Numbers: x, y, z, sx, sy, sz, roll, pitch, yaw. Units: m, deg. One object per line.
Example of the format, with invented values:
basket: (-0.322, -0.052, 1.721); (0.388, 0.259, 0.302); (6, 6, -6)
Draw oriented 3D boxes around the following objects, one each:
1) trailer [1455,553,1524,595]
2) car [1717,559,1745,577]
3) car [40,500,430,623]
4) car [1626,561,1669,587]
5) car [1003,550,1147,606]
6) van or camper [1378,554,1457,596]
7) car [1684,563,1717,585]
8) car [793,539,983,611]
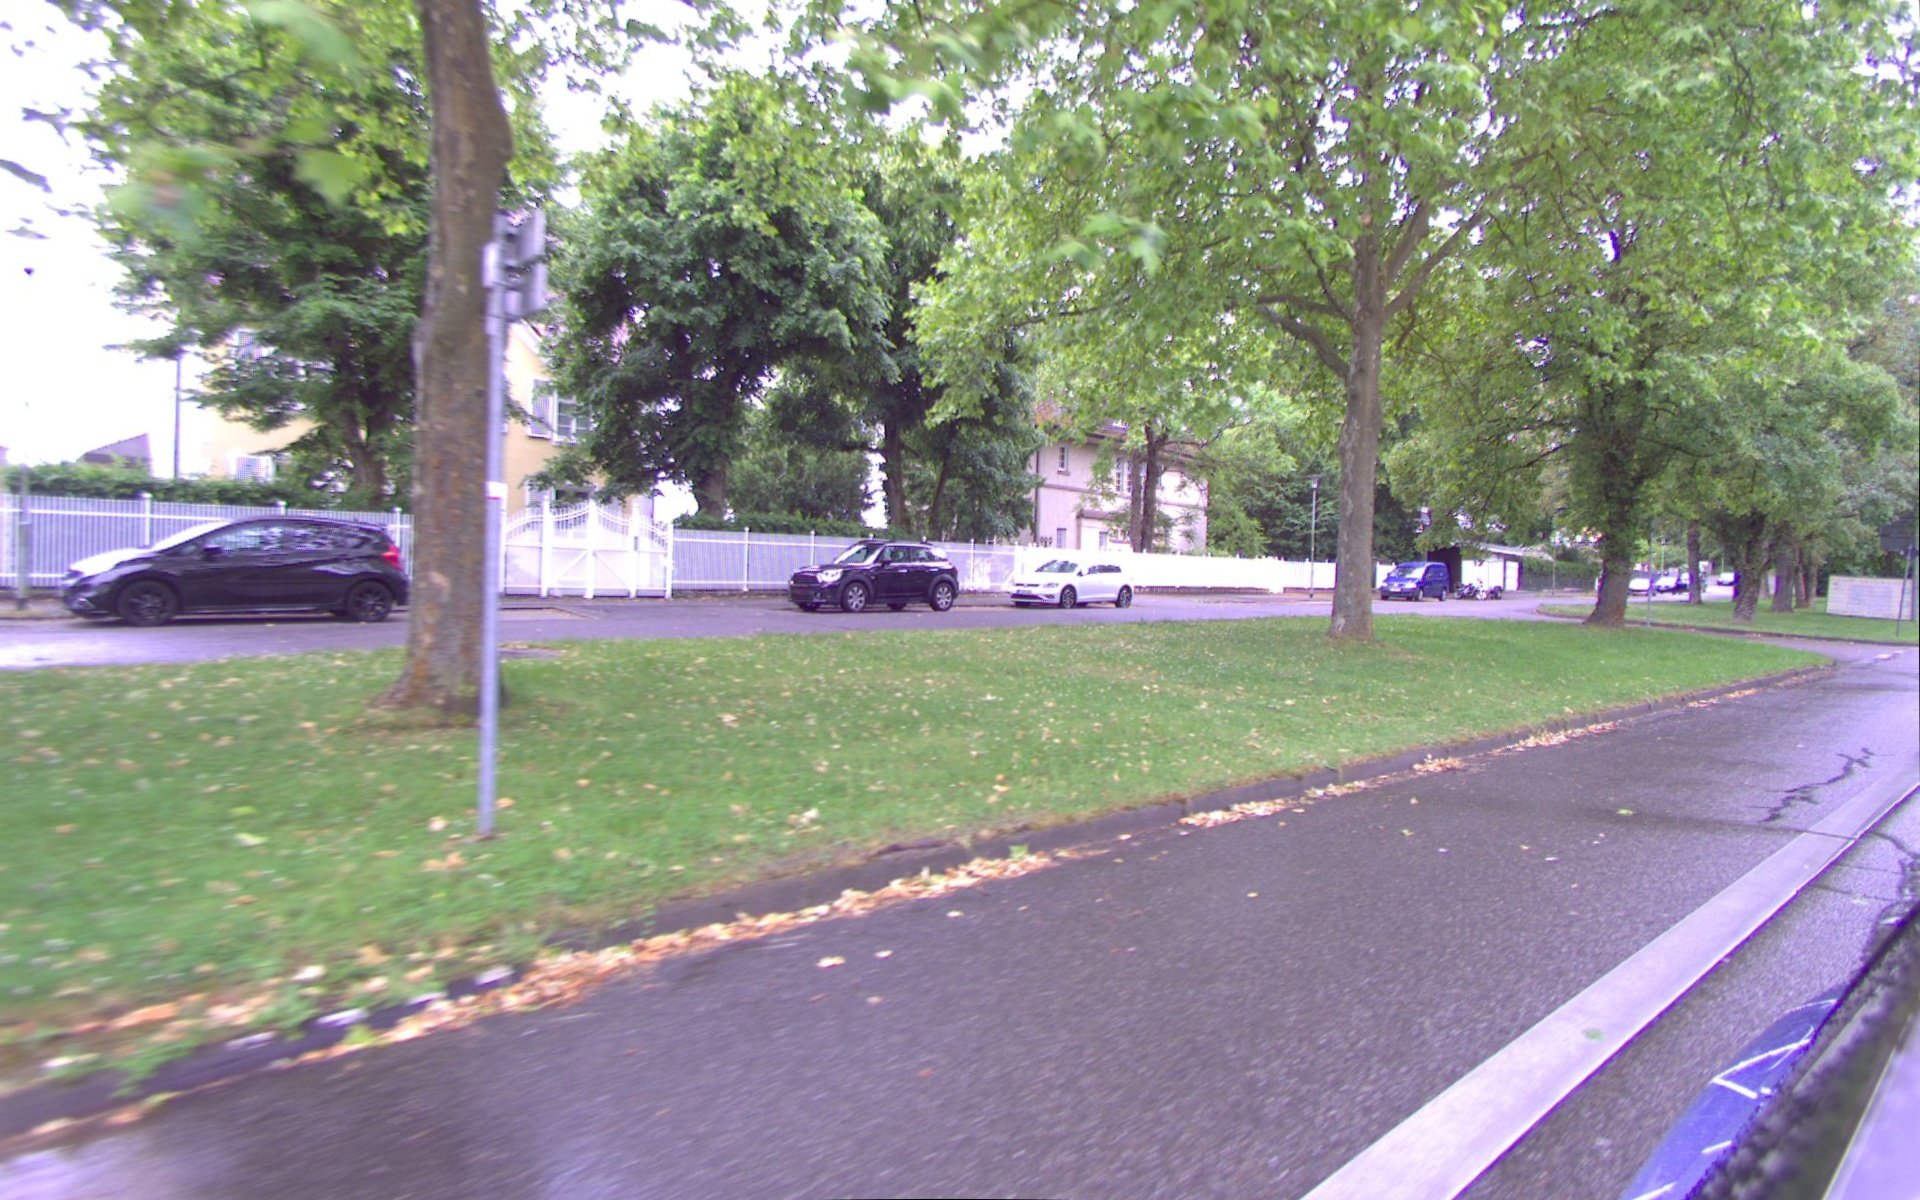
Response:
trailer: (28.019, -1.372, 53.472); (5.109, 2.143, 1.767); (-1, 1, -45)
car: (89.503, -3.702, 117.509); (3.935, 2.038, 1.996); (-1, 3, -44)
car: (-10.158, -0.496, 14.432); (1.760, 1.489, 4.288); (-1, 0, 44)
car: (56.605, -2.133, 83.305); (3.933, 2.038, 1.997); (-1, 3, -43)
car: (3.287, -0.621, 28.474); (1.994, 1.467, 4.059); (1, 1, 44)
van or camper: (21.177, -1.156, 46.760); (1.993, 1.831, 4.702); (0, 1, 43)
car: (73.308, -2.577, 100.141); (3.935, 2.038, 1.996); (-1, 3, -44)
car: (-1.580, -0.561, 23.113); (1.994, 1.489, 4.059); (1, 1, 44)
